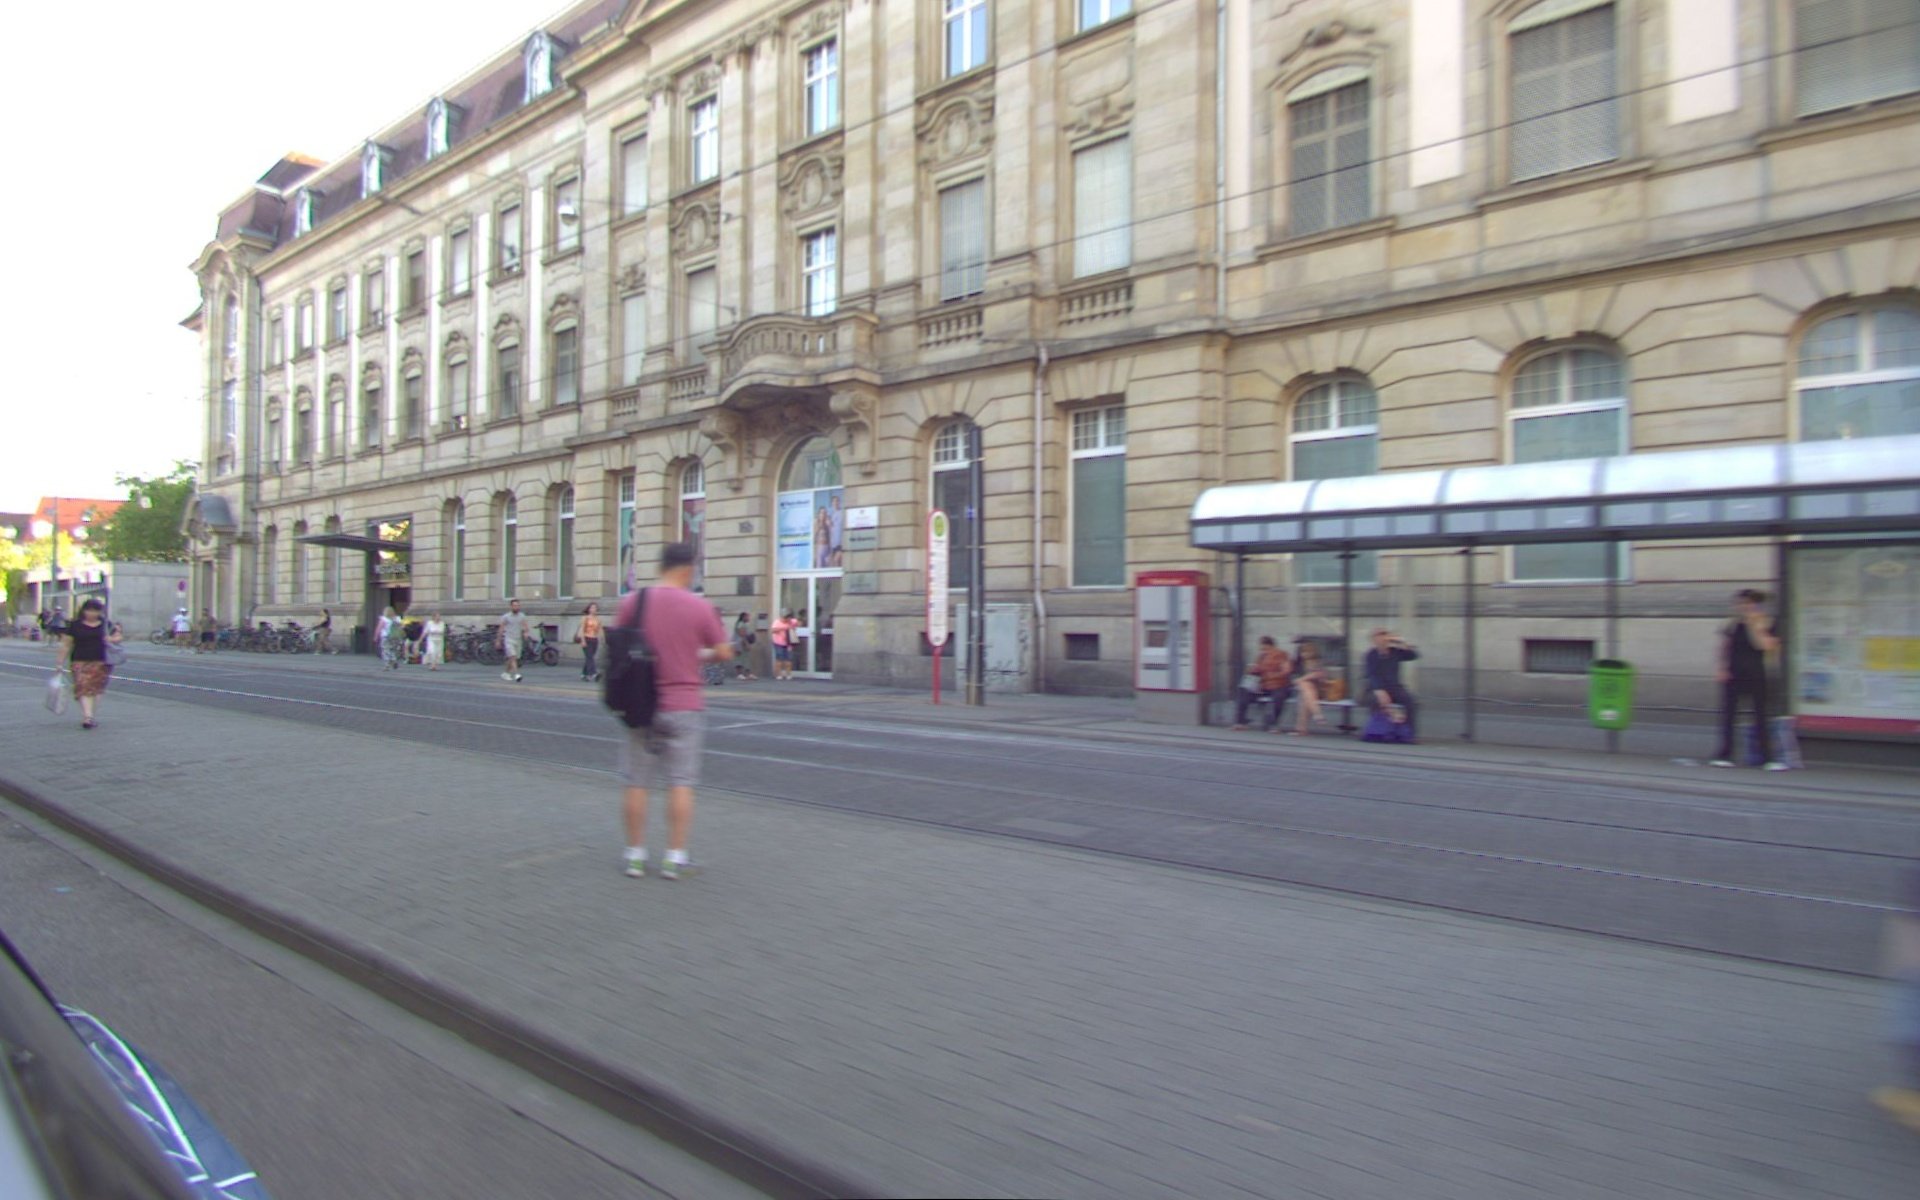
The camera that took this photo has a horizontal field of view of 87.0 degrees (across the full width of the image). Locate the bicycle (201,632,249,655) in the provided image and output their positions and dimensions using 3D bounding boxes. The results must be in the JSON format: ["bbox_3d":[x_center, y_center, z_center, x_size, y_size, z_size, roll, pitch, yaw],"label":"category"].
[{"bbox_3d":[-30.936,1.830,42.615,0.451,0.880,1.559,-1,0,42],"label":"bicycle"}]

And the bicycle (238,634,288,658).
[{"bbox_3d":[-27.501,1.807,39.954,0.451,0.880,1.559,-1,0,42],"label":"bicycle"}]

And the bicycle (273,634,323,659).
[{"bbox_3d":[-25.650,1.797,39.249,0.451,0.880,1.559,-1,0,42],"label":"bicycle"}]

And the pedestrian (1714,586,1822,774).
[{"bbox_3d":[7.461,0.710,9.358,0.510,1.663,0.640,1,-1,-31],"label":"pedestrian"}]

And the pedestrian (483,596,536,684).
[{"bbox_3d":[-9.572,0.834,21.505,0.812,1.826,0.687,-1,-2,33],"label":"pedestrian"}]

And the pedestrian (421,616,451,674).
[{"bbox_3d":[-13.602,1.158,26.254,0.682,1.477,0.558,1,-1,-28],"label":"pedestrian"}]

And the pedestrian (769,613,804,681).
[{"bbox_3d":[-3.866,1.035,22.553,0.588,1.501,0.539,0,0,14],"label":"pedestrian"}]

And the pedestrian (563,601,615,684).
[{"bbox_3d":[-7.838,0.884,21.384,0.813,1.725,0.686,-1,-2,36],"label":"pedestrian"}]

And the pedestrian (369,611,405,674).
[{"bbox_3d":[-14.670,1.075,25.907,0.650,1.573,0.682,0,-1,-16],"label":"pedestrian"}]

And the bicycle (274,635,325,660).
[{"bbox_3d":[-25.207,1.793,38.645,0.451,0.880,1.559,-1,0,42],"label":"bicycle"}]

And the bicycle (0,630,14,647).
[{"bbox_3d":[-69.592,2.783,72.865,0.691,1.168,2.105,-1,-2,38],"label":"bicycle"}]

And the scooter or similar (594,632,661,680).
[{"bbox_3d":[-8.012,1.334,24.411,0.451,1.076,1.530,-1,0,42],"label":"scooter or similar"}]

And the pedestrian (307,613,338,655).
[{"bbox_3d":[-23.540,1.250,37.379,0.776,1.544,0.729,-1,-1,37],"label":"pedestrian"}]

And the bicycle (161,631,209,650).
[{"bbox_3d":[-39.165,2.038,51.160,0.634,0.875,1.819,0,0,35],"label":"bicycle"}]

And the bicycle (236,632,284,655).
[{"bbox_3d":[-28.378,1.755,41.038,0.451,0.880,1.559,-1,0,42],"label":"bicycle"}]

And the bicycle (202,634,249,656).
[{"bbox_3d":[-31.502,1.918,43.405,0.451,0.880,1.559,-1,0,42],"label":"bicycle"}]

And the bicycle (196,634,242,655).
[{"bbox_3d":[-32.212,1.922,43.990,0.451,0.880,1.559,-1,0,42],"label":"bicycle"}]

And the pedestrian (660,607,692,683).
[{"bbox_3d":[-6.298,0.990,22.443,0.563,1.654,0.470,-1,0,45],"label":"pedestrian"}]

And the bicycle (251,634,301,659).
[{"bbox_3d":[-26.640,1.802,39.446,0.451,0.880,1.559,-1,0,42],"label":"bicycle"}]

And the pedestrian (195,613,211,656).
[{"bbox_3d":[-29.686,1.355,39.675,0.370,1.686,0.495,0,0,-20],"label":"pedestrian"}]

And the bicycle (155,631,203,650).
[{"bbox_3d":[-39.778,2.042,51.548,0.634,0.875,1.819,0,0,35],"label":"bicycle"}]

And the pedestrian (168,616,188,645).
[{"bbox_3d":[-42.360,1.634,54.817,0.678,1.573,0.654,-1,-2,34],"label":"pedestrian"}]

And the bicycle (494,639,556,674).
[{"bbox_3d":[-12.135,1.569,28.270,0.451,0.880,1.559,-1,0,42],"label":"bicycle"}]

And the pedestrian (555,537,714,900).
[{"bbox_3d":[-1.603,0.547,5.106,0.676,1.650,0.863,0,-1,-12],"label":"pedestrian"}]

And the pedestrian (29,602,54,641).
[{"bbox_3d":[-41.424,0.981,45.643,0.669,1.750,0.484,2,-3,-25],"label":"pedestrian"}]

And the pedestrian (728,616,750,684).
[{"bbox_3d":[-4.841,1.083,22.170,0.433,1.451,0.574,0,0,-16],"label":"pedestrian"}]

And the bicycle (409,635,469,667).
[{"bbox_3d":[-15.926,1.546,30.951,0.451,0.880,1.559,-1,0,42],"label":"bicycle"}]

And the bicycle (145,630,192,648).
[{"bbox_3d":[-41.347,2.033,52.876,0.634,0.875,1.819,0,0,35],"label":"bicycle"}]

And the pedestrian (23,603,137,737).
[{"bbox_3d":[-10.486,0.806,12.064,0.900,1.512,0.838,-1,-2,37],"label":"pedestrian"}]

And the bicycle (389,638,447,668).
[{"bbox_3d":[-17.085,1.659,31.902,0.451,0.880,1.559,-1,0,42],"label":"bicycle"}]

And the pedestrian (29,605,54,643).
[{"bbox_3d":[-42.031,1.104,46.318,0.592,1.750,0.644,-1,-3,28],"label":"pedestrian"}]

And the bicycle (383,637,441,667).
[{"bbox_3d":[-17.522,1.651,32.376,0.451,0.880,1.559,-1,0,42],"label":"bicycle"}]

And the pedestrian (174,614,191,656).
[{"bbox_3d":[-30.365,1.358,39.531,0.370,1.643,0.495,0,0,-18],"label":"pedestrian"}]

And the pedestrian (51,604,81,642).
[{"bbox_3d":[-40.965,1.058,46.368,0.672,1.750,0.675,0,-3,5],"label":"pedestrian"}]

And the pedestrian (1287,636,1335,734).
[{"bbox_3d":[4.134,0.984,11.923,0.429,1.111,0.360,-1,0,43],"label":"pedestrian"}]

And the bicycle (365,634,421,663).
[{"bbox_3d":[-18.771,1.584,33.509,0.451,0.880,1.559,-1,0,42],"label":"bicycle"}]

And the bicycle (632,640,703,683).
[{"bbox_3d":[-6.620,1.384,22.955,0.451,0.880,1.559,-1,0,42],"label":"bicycle"}]

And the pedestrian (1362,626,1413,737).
[{"bbox_3d":[4.828,0.910,11.442,0.429,1.209,0.360,-1,0,43],"label":"pedestrian"}]

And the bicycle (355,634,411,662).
[{"bbox_3d":[-19.300,1.606,33.880,0.451,0.880,1.559,-1,0,42],"label":"bicycle"}]

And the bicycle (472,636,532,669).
[{"bbox_3d":[-13.409,1.531,29.686,0.451,0.880,1.559,-1,0,42],"label":"bicycle"}]

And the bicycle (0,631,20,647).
[{"bbox_3d":[-68.281,2.775,71.919,0.691,1.168,2.105,-1,-2,38],"label":"bicycle"}]

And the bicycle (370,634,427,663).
[{"bbox_3d":[-18.348,1.571,33.101,0.451,0.880,1.559,-1,0,42],"label":"bicycle"}]

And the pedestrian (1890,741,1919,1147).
[{"bbox_3d":[2.773,0.824,2.343,0.787,0.946,0.695,0,-1,-30],"label":"pedestrian"}]

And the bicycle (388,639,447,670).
[{"bbox_3d":[-16.689,1.656,31.163,0.451,0.880,1.559,-1,0,42],"label":"bicycle"}]

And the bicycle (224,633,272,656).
[{"bbox_3d":[-29.100,1.818,41.375,0.451,0.880,1.559,-1,0,42],"label":"bicycle"}]

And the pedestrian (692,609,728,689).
[{"bbox_3d":[-5.124,0.987,20.756,0.569,1.617,0.437,0,0,26],"label":"pedestrian"}]

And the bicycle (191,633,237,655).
[{"bbox_3d":[-32.656,1.925,44.295,0.451,0.880,1.559,-1,0,42],"label":"bicycle"}]

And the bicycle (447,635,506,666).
[{"bbox_3d":[-14.574,1.510,30.515,0.451,0.880,1.559,-1,0,42],"label":"bicycle"}]

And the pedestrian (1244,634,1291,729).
[{"bbox_3d":[3.765,0.987,12.404,0.429,1.111,0.360,-1,0,43],"label":"pedestrian"}]

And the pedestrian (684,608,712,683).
[{"bbox_3d":[-5.917,1.015,22.836,0.606,1.654,0.331,-1,0,45],"label":"pedestrian"}]
